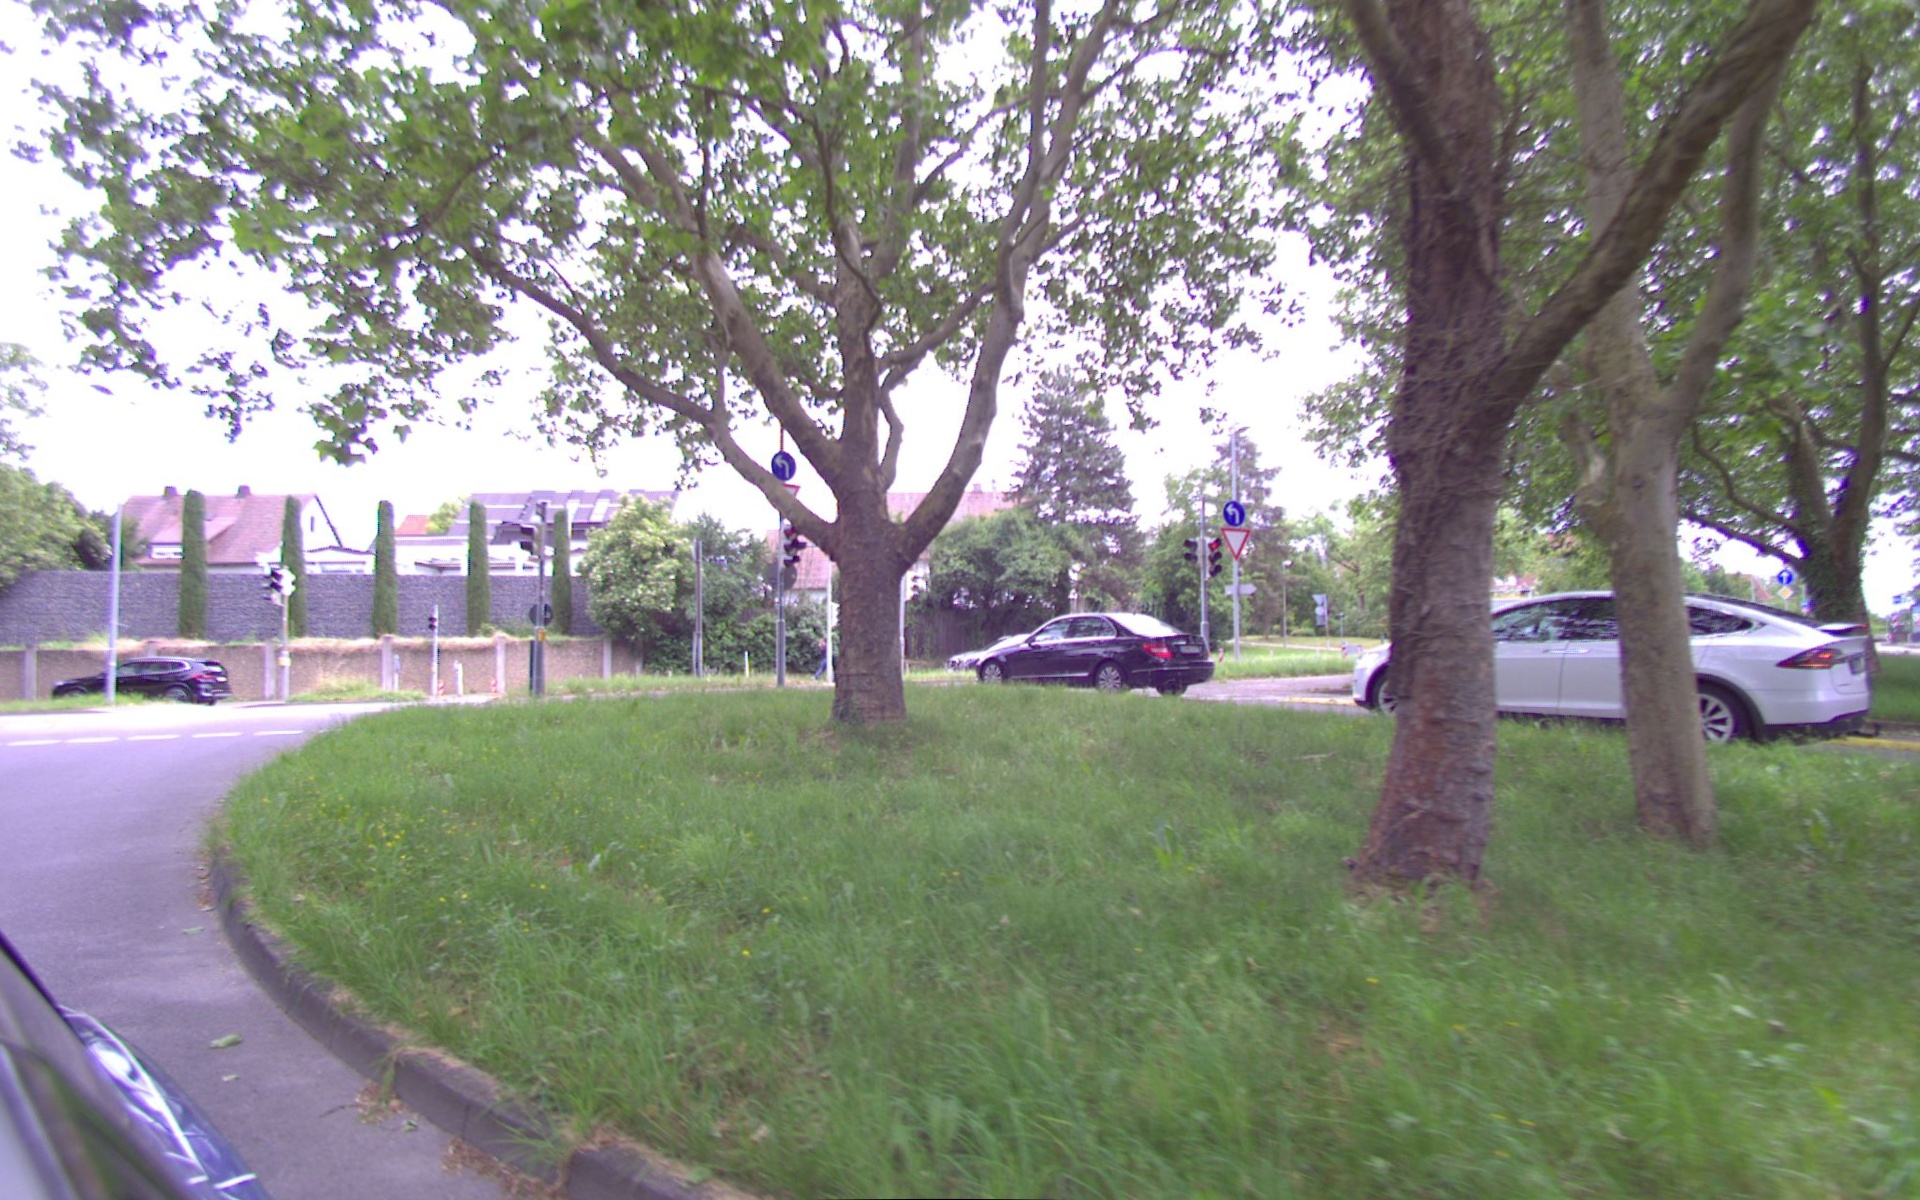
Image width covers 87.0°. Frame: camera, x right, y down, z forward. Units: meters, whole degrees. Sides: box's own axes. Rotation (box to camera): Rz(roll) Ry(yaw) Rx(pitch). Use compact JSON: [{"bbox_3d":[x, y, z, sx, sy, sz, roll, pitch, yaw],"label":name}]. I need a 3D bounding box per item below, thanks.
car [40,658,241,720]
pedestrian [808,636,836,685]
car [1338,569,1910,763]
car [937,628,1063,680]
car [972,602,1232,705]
[{"bbox_3d":[-24.909,2.697,30.947,4.391,1.644,1.851,-1,-5,-14],"label":"car"},{"bbox_3d":[-5.869,2.551,42.955,0.840,2.029,0.955,0,-4,-30],"label":"pedestrian"},{"bbox_3d":[6.977,0.739,11.221,1.828,1.671,4.914,1,-5,-40],"label":"car"},{"bbox_3d":[1.438,1.879,35.573,4.193,1.644,1.849,1,-6,-40],"label":"car"},{"bbox_3d":[2.283,0.864,17.294,1.735,1.529,4.394,1,-2,-39],"label":"car"}]
